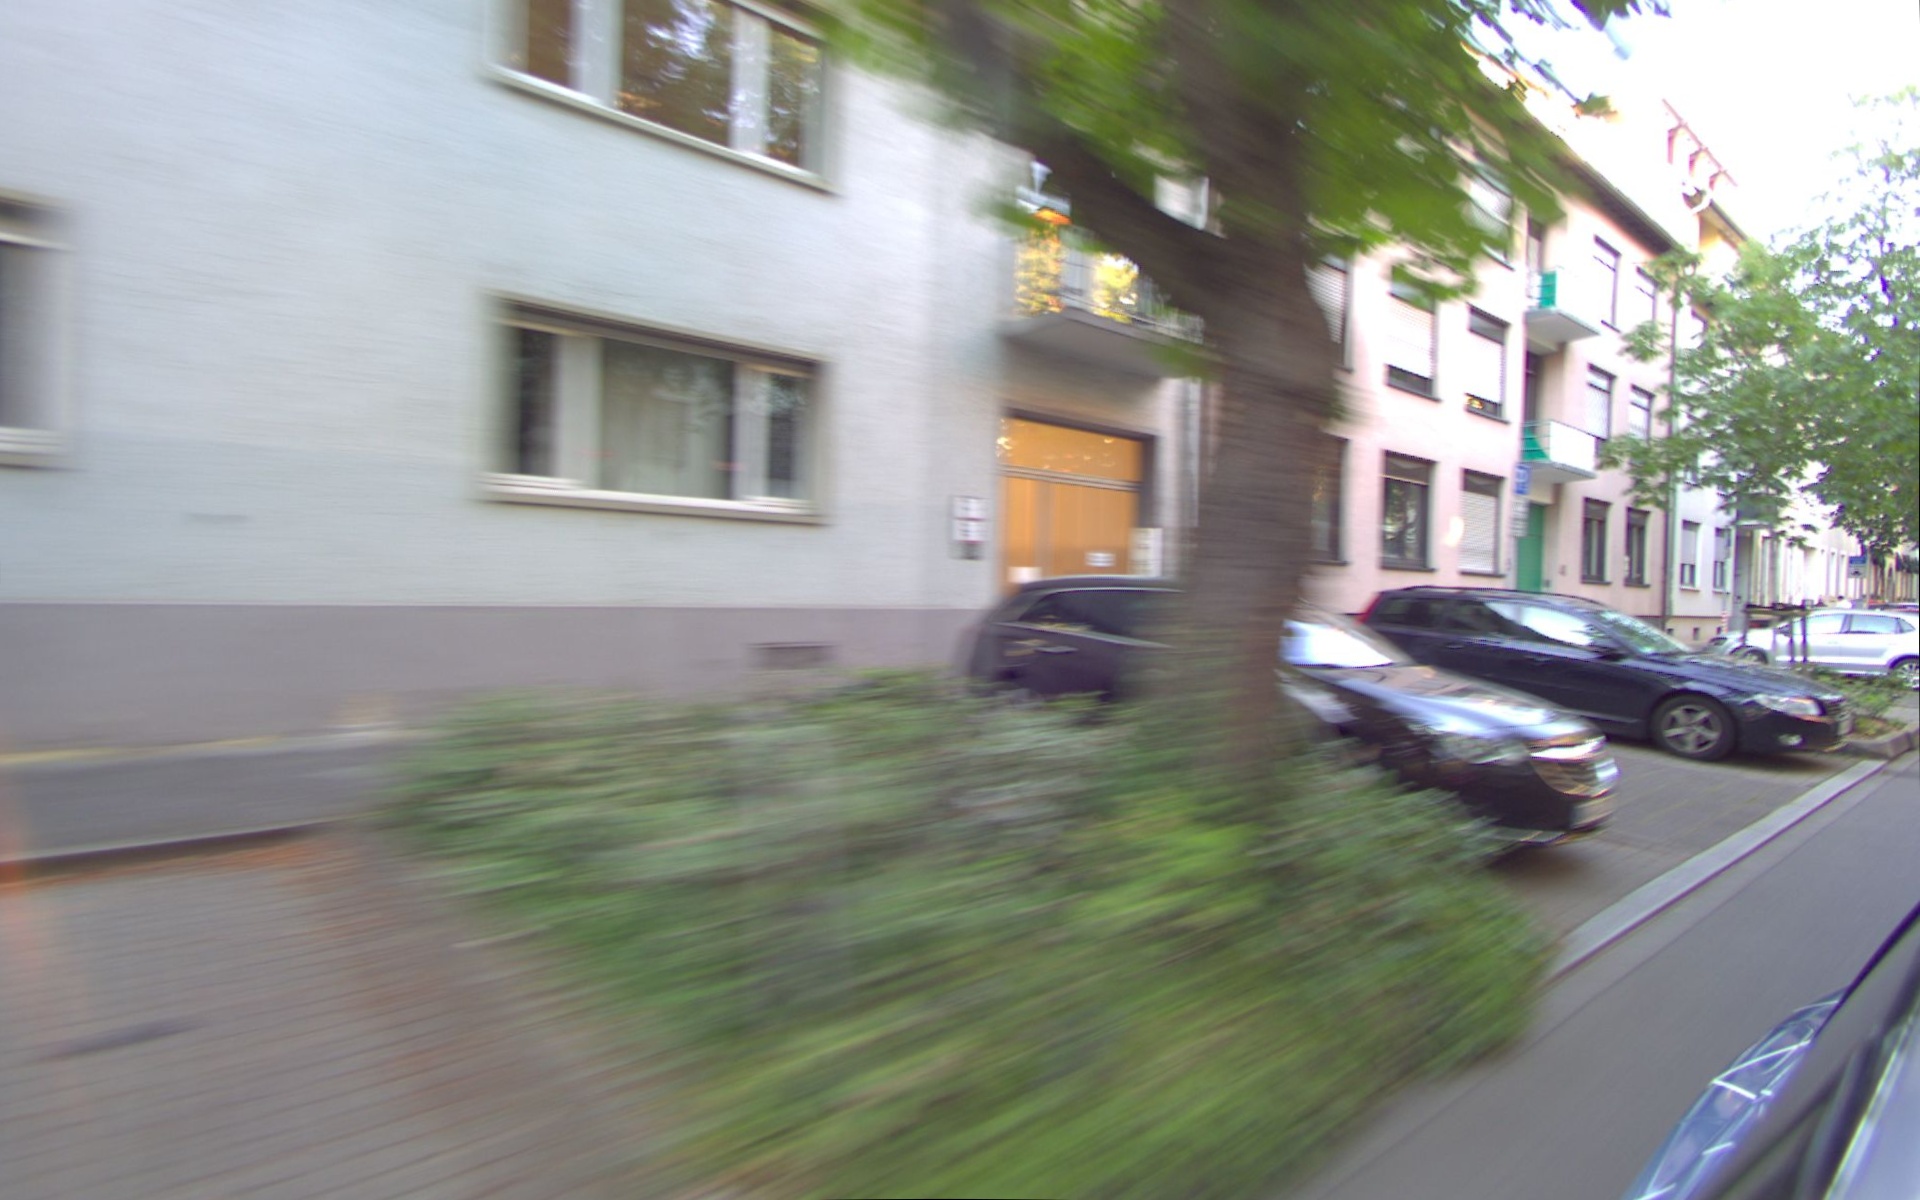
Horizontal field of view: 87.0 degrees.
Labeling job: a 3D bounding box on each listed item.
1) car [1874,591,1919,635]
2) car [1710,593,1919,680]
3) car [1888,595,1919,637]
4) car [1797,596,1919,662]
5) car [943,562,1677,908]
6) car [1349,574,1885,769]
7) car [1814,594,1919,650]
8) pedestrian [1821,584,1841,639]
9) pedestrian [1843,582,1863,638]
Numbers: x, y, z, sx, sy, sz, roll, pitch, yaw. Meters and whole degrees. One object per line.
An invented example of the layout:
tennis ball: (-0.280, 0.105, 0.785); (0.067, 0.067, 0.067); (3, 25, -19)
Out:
car: (33.327, 0.527, 33.848); (1.645, 1.415, 3.859); (1, 3, -40)
car: (17.278, 0.683, 19.855); (1.647, 1.415, 3.854); (0, 3, -44)
car: (34.958, 0.664, 35.091); (1.645, 1.415, 3.859); (1, 3, -40)
car: (23.285, 0.742, 24.863); (1.644, 1.415, 3.862); (1, 3, -37)
car: (2.020, 0.567, 7.026); (1.916, 1.542, 4.457); (1, 2, -39)
car: (6.864, 0.580, 11.101); (1.665, 1.488, 4.597); (1, 3, -39)
car: (26.757, 0.647, 28.508); (1.645, 1.415, 3.859); (1, 3, -40)
pedestrian: (32.491, 0.415, 37.754); (0.476, 2.038, 0.449); (1, 1, -40)
pedestrian: (33.062, 0.357, 37.474); (0.476, 2.038, 0.449); (1, 1, -40)
